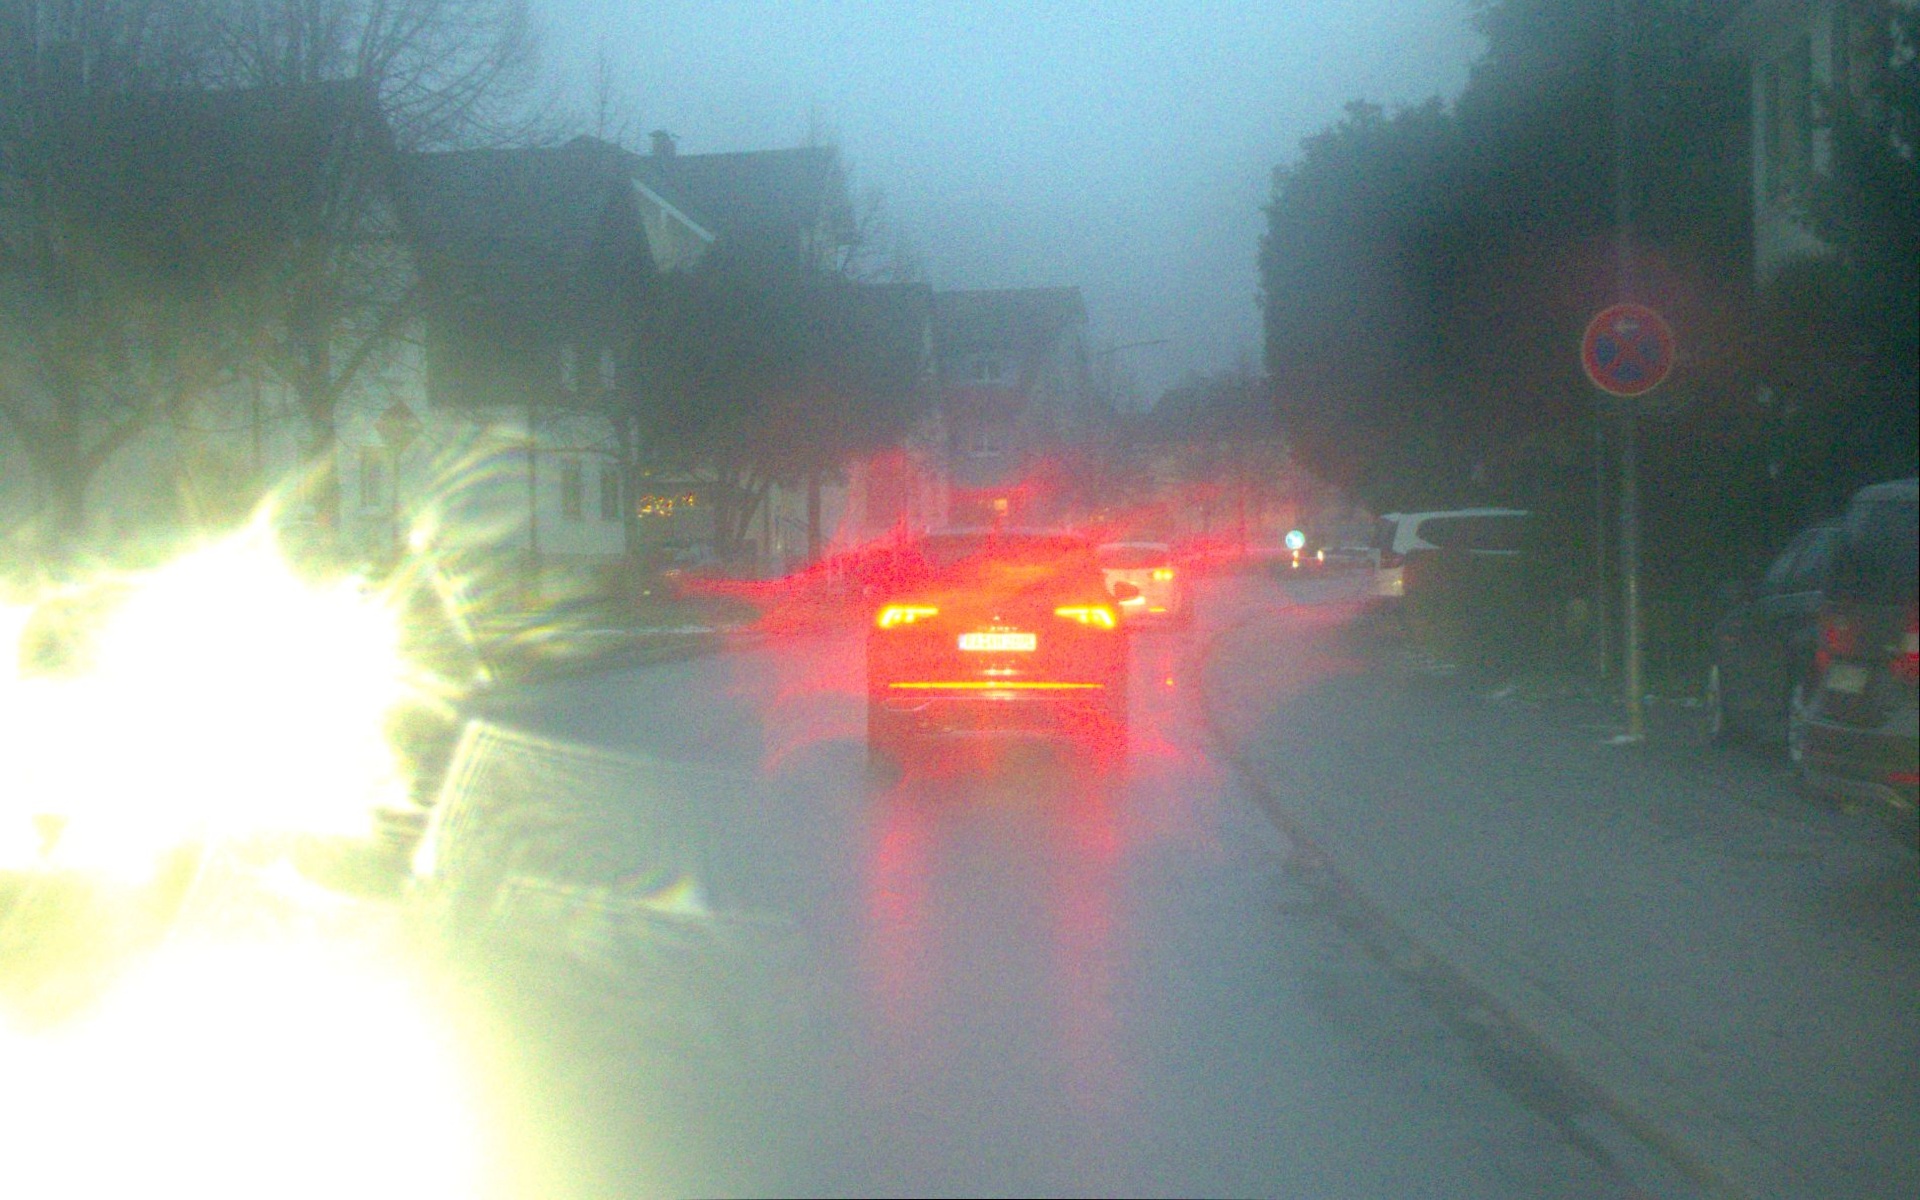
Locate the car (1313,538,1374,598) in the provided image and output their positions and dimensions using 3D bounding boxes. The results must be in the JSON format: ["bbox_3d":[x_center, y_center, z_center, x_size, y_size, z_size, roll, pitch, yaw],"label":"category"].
[{"bbox_3d":[13.591,-1.160,121.978,1.994,2.007,4.000,-1,1,5],"label":"car"}]

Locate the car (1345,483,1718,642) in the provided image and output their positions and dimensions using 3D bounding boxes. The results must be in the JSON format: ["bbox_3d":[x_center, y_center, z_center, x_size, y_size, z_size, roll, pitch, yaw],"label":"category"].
[{"bbox_3d":[7.174,-0.478,43.493,4.323,1.726,2.000,-3,1,1],"label":"car"}]

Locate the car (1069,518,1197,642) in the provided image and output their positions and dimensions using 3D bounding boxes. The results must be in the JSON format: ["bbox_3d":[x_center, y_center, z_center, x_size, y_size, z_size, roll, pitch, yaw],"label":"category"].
[{"bbox_3d":[2.942,-0.352,57.791,1.994,2.007,3.999,0,1,5],"label":"car"}]

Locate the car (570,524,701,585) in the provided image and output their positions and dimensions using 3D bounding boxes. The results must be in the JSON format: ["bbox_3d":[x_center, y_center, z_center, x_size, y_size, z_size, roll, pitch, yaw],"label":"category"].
[{"bbox_3d":[-7.424,-1.039,78.977,1.783,1.361,3.998,0,1,14],"label":"car"}]

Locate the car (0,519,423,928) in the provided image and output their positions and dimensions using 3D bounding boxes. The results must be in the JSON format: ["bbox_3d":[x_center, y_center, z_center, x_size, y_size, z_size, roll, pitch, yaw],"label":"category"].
[{"bbox_3d":[-3.780,0.473,16.102,1.814,1.627,4.225,-2,1,0],"label":"car"}]

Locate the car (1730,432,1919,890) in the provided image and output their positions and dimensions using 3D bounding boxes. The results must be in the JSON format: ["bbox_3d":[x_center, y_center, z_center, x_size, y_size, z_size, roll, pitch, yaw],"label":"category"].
[{"bbox_3d":[5.367,0.210,13.779,4.102,1.700,2.000,0,0,0],"label":"car"}]

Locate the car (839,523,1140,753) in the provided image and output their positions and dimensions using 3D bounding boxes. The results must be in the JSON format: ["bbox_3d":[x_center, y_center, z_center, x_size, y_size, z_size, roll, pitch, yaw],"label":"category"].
[{"bbox_3d":[0.149,0.214,24.801,1.993,1.520,4.000,0,1,-1],"label":"car"}]

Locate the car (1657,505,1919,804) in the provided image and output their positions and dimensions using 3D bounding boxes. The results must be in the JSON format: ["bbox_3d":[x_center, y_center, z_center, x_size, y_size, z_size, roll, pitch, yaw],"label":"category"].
[{"bbox_3d":[5.501,0.226,20.248,1.893,1.549,4.755,-1,1,1],"label":"car"}]
